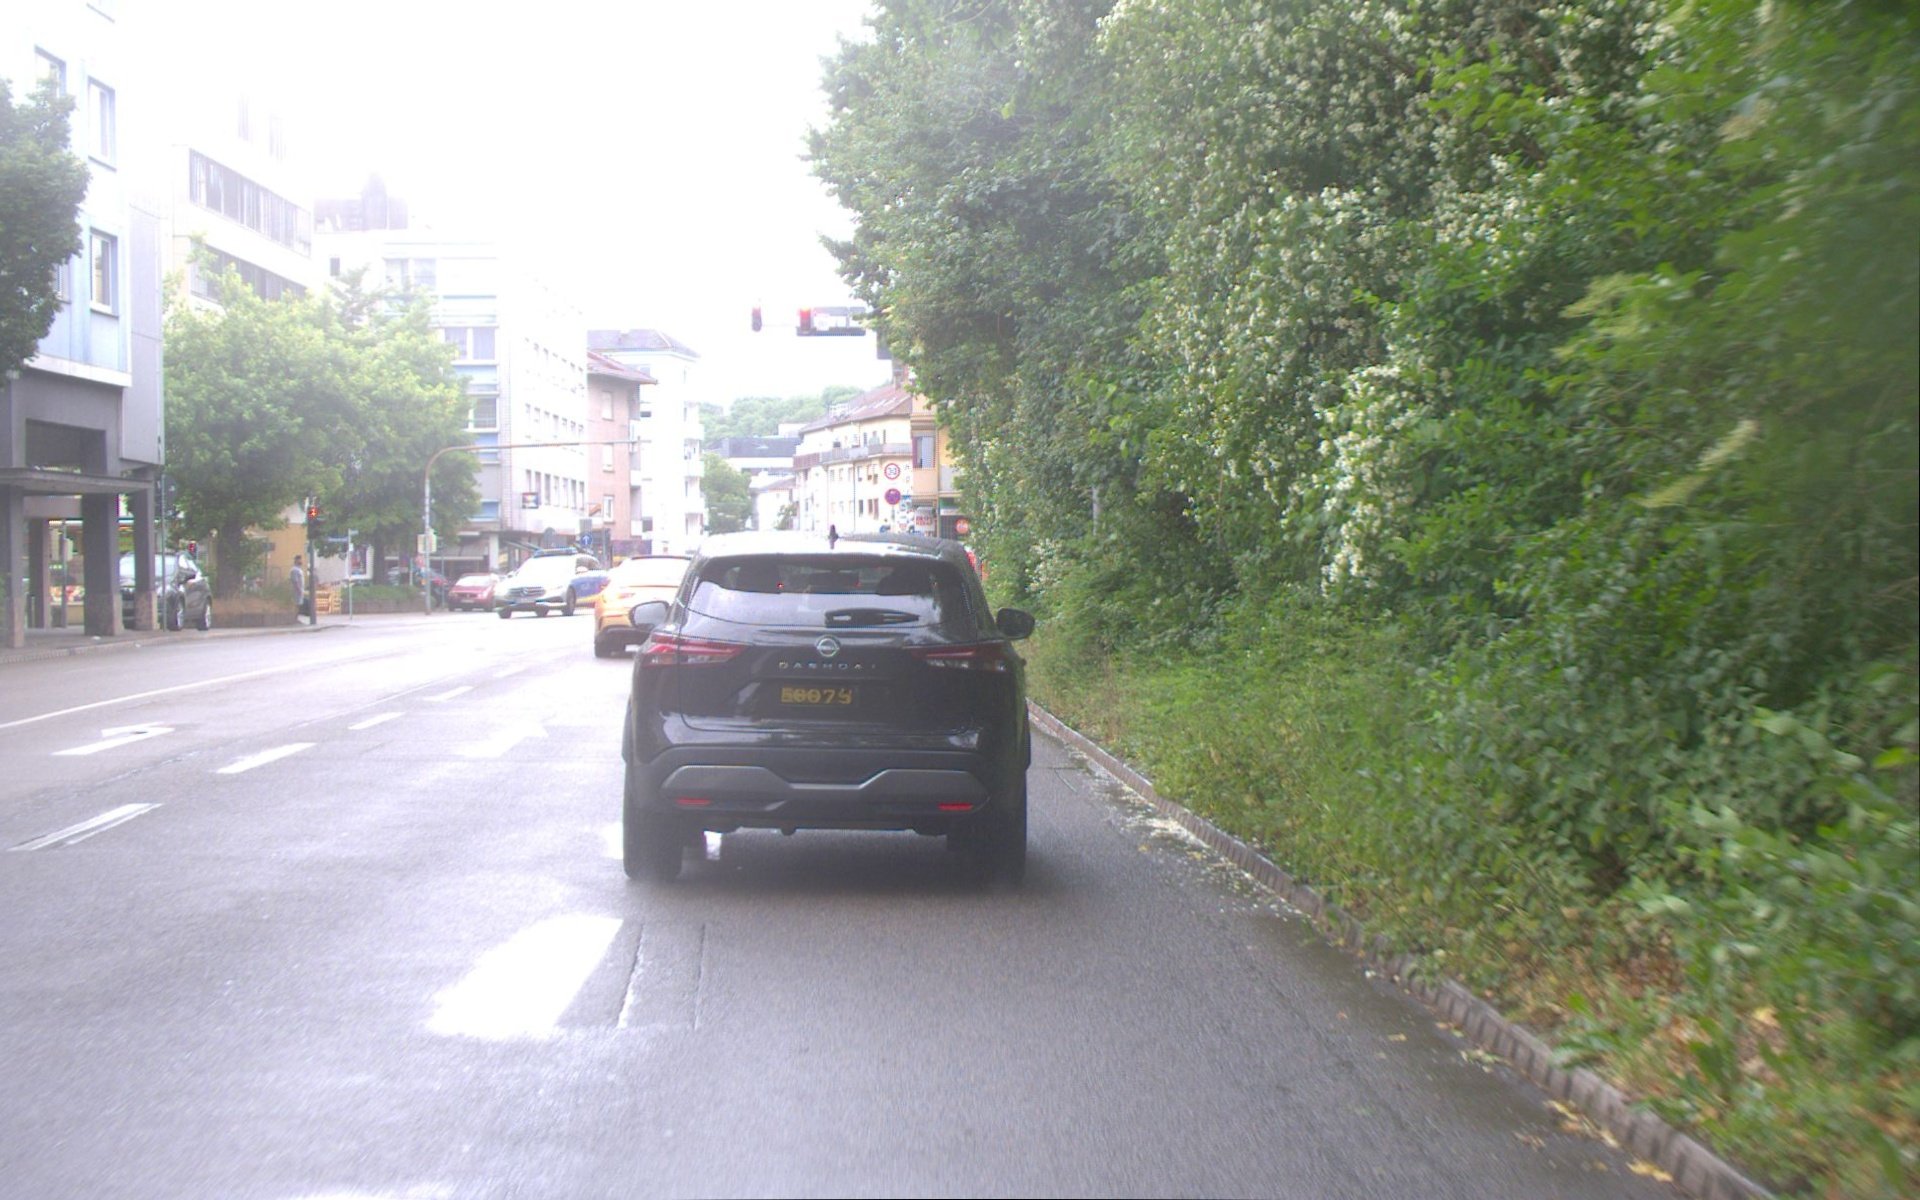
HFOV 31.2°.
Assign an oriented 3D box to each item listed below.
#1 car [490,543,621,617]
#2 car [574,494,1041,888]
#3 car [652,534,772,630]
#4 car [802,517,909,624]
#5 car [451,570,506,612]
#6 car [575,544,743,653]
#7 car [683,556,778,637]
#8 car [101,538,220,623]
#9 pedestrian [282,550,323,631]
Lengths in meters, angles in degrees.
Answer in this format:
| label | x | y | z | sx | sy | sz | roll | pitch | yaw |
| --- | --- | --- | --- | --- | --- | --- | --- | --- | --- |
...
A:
| label | x | y | z | sx | sy | sz | roll | pitch | yaw |
| --- | --- | --- | --- | --- | --- | --- | --- | --- | --- |
| car | -9.958 | -0.513 | 84.985 | 1.994 | 1.744 | 4.806 | -1 | 1 | 9 |
| car | -0.725 | 0.350 | 16.623 | 1.959 | 1.647 | 4.001 | -1 | 1 | -2 |
| car | -4.029 | -0.314 | 56.326 | 1.743 | 1.482 | 4.162 | -1 | 1 | -2 |
| car | -2.065 | -0.596 | 67.072 | 1.993 | 2.007 | 4.001 | -1 | 1 | -2 |
| car | -18.124 | -0.343 | 129.558 | 1.672 | 1.473 | 3.608 | -2 | 1 | -3 |
| car | -4.275 | -0.061 | 49.440 | 2.066 | 1.459 | 4.587 | -1 | 1 | -1 |
| car | -4.185 | -0.088 | 63.039 | 1.613 | 1.416 | 3.967 | 0 | 1 | -2 |
| car | -16.615 | -0.417 | 71.564 | 1.539 | 1.700 | 4.287 | 0 | 1 | -1 |
| pedestrian | -16.526 | -0.238 | 86.425 | 0.940 | 2.007 | 0.887 | -2 | 1 | -10 |
